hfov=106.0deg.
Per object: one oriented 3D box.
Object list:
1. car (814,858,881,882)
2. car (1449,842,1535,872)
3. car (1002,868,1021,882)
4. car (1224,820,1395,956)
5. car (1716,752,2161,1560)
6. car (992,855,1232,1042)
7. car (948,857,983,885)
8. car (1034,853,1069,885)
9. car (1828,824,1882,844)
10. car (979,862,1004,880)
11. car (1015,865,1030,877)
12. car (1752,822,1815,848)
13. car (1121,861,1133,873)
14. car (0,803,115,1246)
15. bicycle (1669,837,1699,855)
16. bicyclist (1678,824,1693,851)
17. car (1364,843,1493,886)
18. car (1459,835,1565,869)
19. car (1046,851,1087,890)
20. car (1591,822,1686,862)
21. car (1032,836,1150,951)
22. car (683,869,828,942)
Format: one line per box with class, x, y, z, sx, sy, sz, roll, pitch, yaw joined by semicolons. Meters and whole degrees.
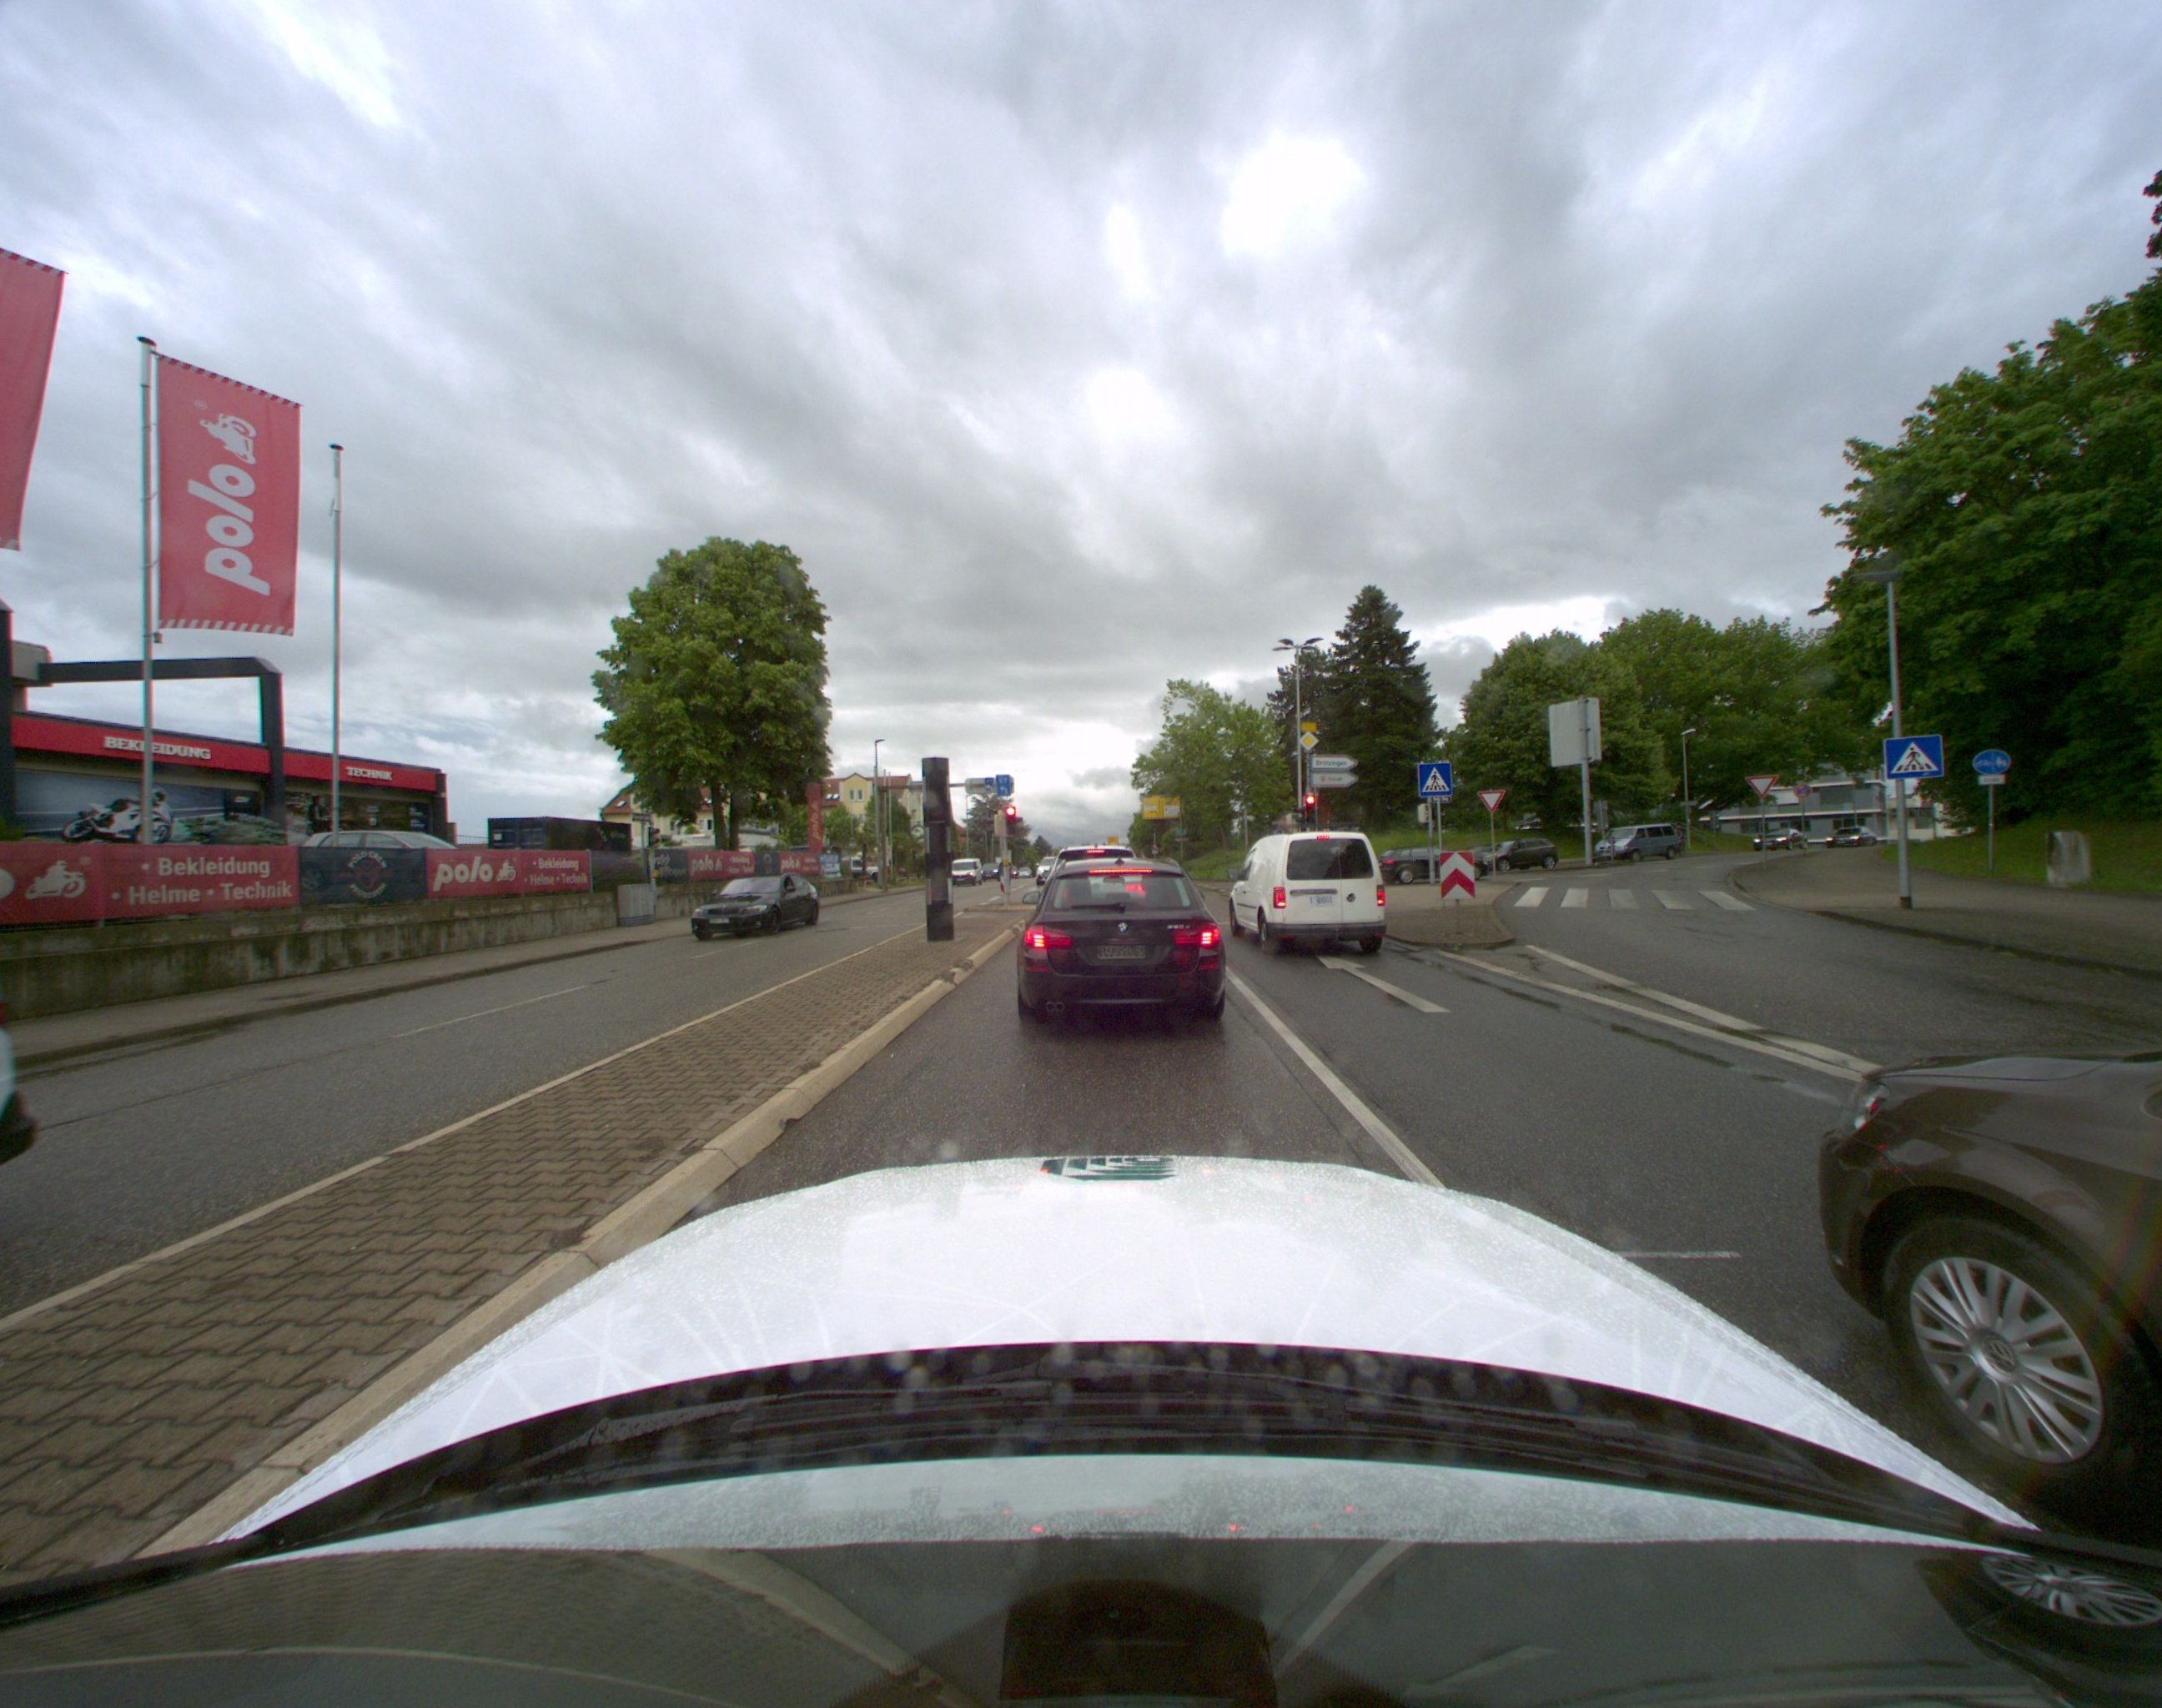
car;-16.172;1.066;56.445;4.215;1.455;1.785;-2;0;-26
car;21.564;0.126;42.765;3.996;1.293;1.600;-3;1;-16
car;-7.496;2.252;87.813;1.662;1.354;3.444;-2;0;1
car;3.528;0.472;13.296;1.735;1.869;3.946;-1;0;1
car;2.960;0.604;0.681;1.708;1.596;4.132;-1;1;1
car;0.398;0.737;8.285;1.846;1.419;3.962;-1;0;5
car;-7.702;1.115;54.546;1.662;1.670;3.684;-2;0;2
car;-1.656;0.842;46.948;1.728;1.691;4.001;-2;-1;1
car;55.056;-1.410;57.924;4.016;1.321;1.938;-2;0;-34
car;-7.666;1.452;70.213;1.662;1.354;3.444;-2;0;1
car;-7.557;2.158;105.498;1.662;1.354;3.444;-2;0;1
car;43.367;-1.173;50.258;4.014;1.447;1.821;-2;0;-32
car;6.262;1.720;110.438;1.593;1.371;3.684;-2;1;4
car;-5.433;0.752;1.442;1.851;1.823;4.579;-4;0;0
bicycle;34.187;-0.441;46.173;1.753;0.953;0.574;-2;0;-26
bicyclist;34.309;-0.924;46.202;0.563;1.489;0.451;-2;0;-26
car;13.088;0.374;30.824;4.069;1.456;1.901;-2;0;1
car;20.919;-0.094;39.578;4.321;1.467;1.893;-2;0;-13
car;-0.643;0.742;38.599;1.728;1.691;4.001;-2;0;1
car;28.851;-0.639;42.126;4.750;1.851;1.885;-2;2;-25
car;0.291;0.587;13.937;1.720;1.711;3.388;-1;0;5
car;-7.569;1.136;19.406;1.662;1.382;4.073;-2;0;2
